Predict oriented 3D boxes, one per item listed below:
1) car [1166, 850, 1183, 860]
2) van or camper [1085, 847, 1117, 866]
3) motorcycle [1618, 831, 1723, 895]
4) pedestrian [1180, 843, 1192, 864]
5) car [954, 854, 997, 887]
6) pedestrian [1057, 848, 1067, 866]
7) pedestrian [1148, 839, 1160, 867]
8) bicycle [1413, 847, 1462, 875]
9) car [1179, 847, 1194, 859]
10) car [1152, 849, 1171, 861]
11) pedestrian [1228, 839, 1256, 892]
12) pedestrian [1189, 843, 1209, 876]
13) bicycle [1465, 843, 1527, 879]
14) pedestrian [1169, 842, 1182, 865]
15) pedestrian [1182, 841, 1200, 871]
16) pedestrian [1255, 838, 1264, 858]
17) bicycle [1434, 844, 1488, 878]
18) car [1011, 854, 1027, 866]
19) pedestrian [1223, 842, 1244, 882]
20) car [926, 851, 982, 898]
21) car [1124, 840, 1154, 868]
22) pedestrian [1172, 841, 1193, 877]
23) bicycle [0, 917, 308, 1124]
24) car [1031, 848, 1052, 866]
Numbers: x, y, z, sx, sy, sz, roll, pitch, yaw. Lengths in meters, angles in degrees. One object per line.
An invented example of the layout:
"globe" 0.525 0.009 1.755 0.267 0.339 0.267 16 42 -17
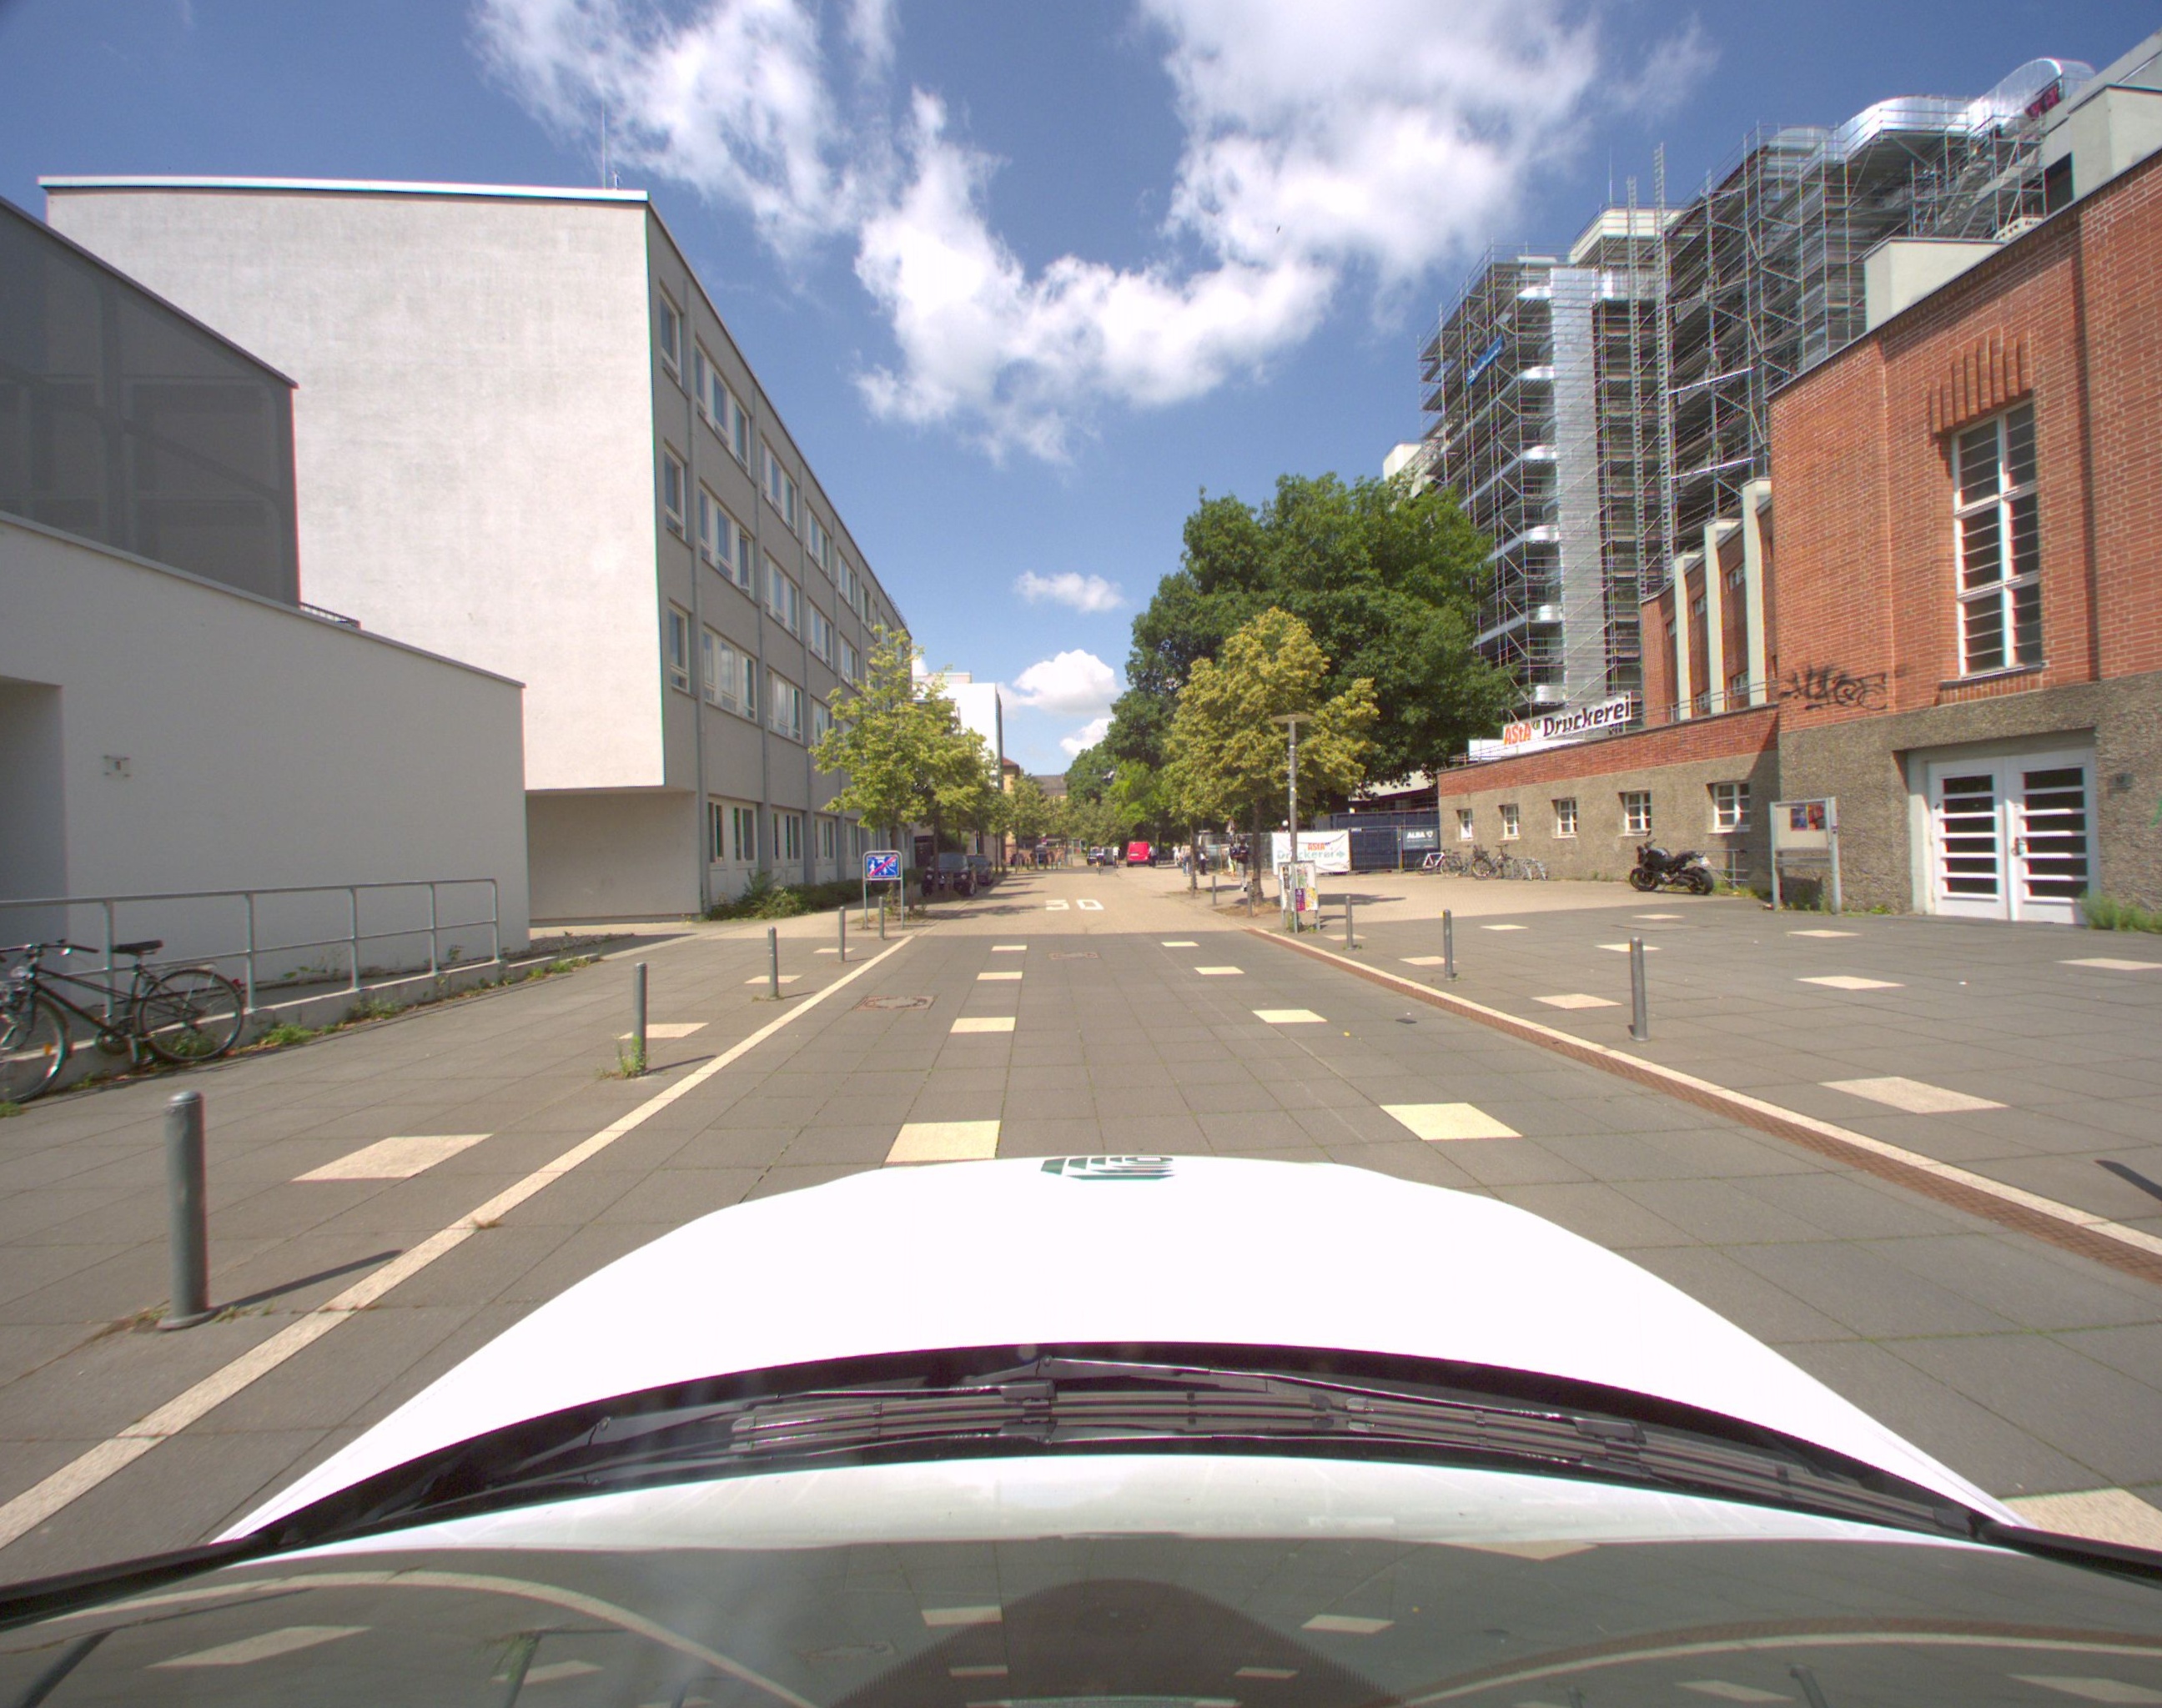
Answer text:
"car" 13.710 0.112 119.136 1.603 1.387 4.019 -2 0 18
"van or camper" 2.203 0.211 86.428 1.938 1.923 5.445 -1 0 17
"motorcycle" 13.053 0.184 18.129 0.694 1.323 2.219 -2 0 -1
"pedestrian" 8.557 -0.030 66.475 0.749 1.710 0.557 -2 0 -39
"car" -4.932 0.724 38.420 1.775 1.461 4.252 -1 0 -5
"pedestrian" -1.890 0.296 80.596 0.579 1.764 0.916 -2 0 20
"pedestrian" 4.788 -0.073 53.453 0.691 1.781 0.788 -2 0 6
"bicycle" 13.602 0.272 31.115 1.667 1.003 0.447 -2 0 -3
"car" 16.478 -0.155 127.413 1.603 1.679 4.019 -2 0 18
"car" 11.068 0.084 111.926 1.746 1.522 4.131 -2 0 18
"pedestrian" 5.283 0.368 26.725 0.641 1.697 0.790 -2 0 -8
"pedestrian" 5.870 0.286 40.561 0.668 1.600 0.982 -2 0 -8
"bicycle" 13.590 0.238 26.698 1.802 1.109 0.447 -2 0 -3
"pedestrian" 7.804 -0.047 67.328 0.727 1.821 0.623 -2 0 -39
"pedestrian" 6.196 0.117 45.861 0.706 1.631 0.716 -2 0 29
"pedestrian" 16.040 -0.537 73.188 0.540 1.837 0.762 -2 0 4
"bicycle" 13.417 0.243 28.748 1.697 1.109 0.447 -2 0 -3
"car" -7.180 0.688 94.254 1.814 1.324 3.762 -2 0 -4
"pedestrian" 6.430 0.328 34.348 0.647 1.666 0.904 -2 0 -1
"car" -4.646 0.706 30.198 1.694 1.564 4.061 -2 0 -5
"car" 4.312 -0.032 59.842 1.838 1.891 4.900 -2 0 7
"pedestrian" 5.064 0.248 40.568 0.849 1.764 0.714 -2 0 -6
"bicycle" -6.608 1.061 5.677 0.541 1.061 1.900 -2 0 2
"car" -4.621 0.316 94.444 2.171 1.925 5.177 -2 0 -5
